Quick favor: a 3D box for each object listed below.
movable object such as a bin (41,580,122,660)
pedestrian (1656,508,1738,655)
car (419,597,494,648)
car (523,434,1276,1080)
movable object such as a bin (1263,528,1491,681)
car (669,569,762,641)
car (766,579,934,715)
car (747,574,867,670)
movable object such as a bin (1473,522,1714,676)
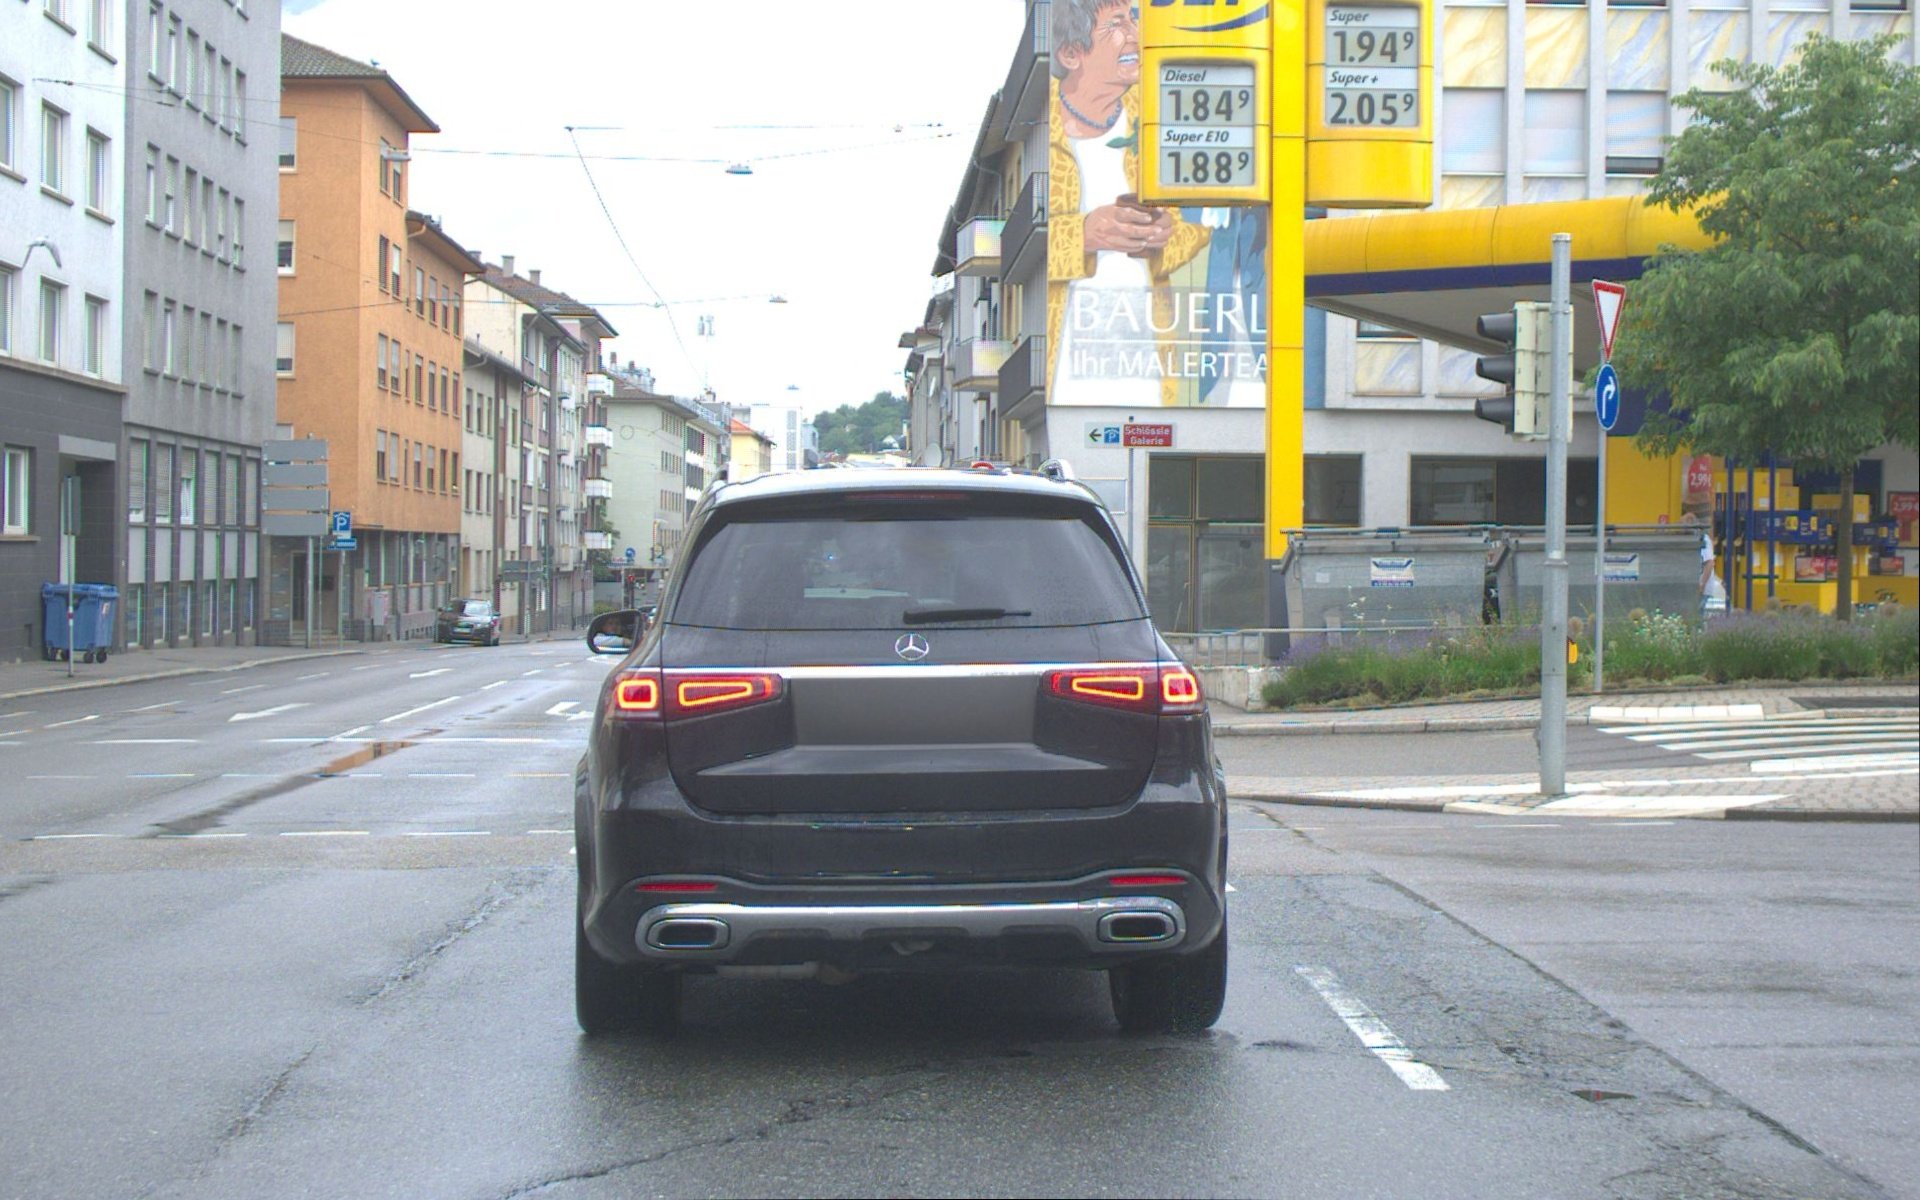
[{"bbox_3d":[-15.083,0.336,59.067,1.076,1.320,1.191,2,0,-2],"label":"movable object such as a bin"},{"bbox_3d":[8.103,-0.204,37.832,0.664,1.579,0.847,2,0,0],"label":"pedestrian"},{"bbox_3d":[-15.418,0.682,105.488,1.891,1.454,4.550,2,0,-4],"label":"car"},{"bbox_3d":[-0.262,0.433,12.079,2.076,1.759,4.611,2,0,-2],"label":"car"},{"bbox_3d":[4.363,0.043,36.207,2.155,1.569,1.773,0,0,-1],"label":"movable object such as a bin"},{"bbox_3d":[-5.933,0.101,83.753,2.076,1.644,4.295,2,0,-2],"label":"car"},{"bbox_3d":[-1.489,0.585,45.919,2.076,1.644,4.295,2,0,-2],"label":"car"},{"bbox_3d":[-2.825,0.379,63.542,2.076,1.644,4.295,2,0,-2],"label":"car"},{"bbox_3d":[6.655,-0.015,36.263,2.155,1.550,1.773,-1,0,-1],"label":"movable object such as a bin"}]
